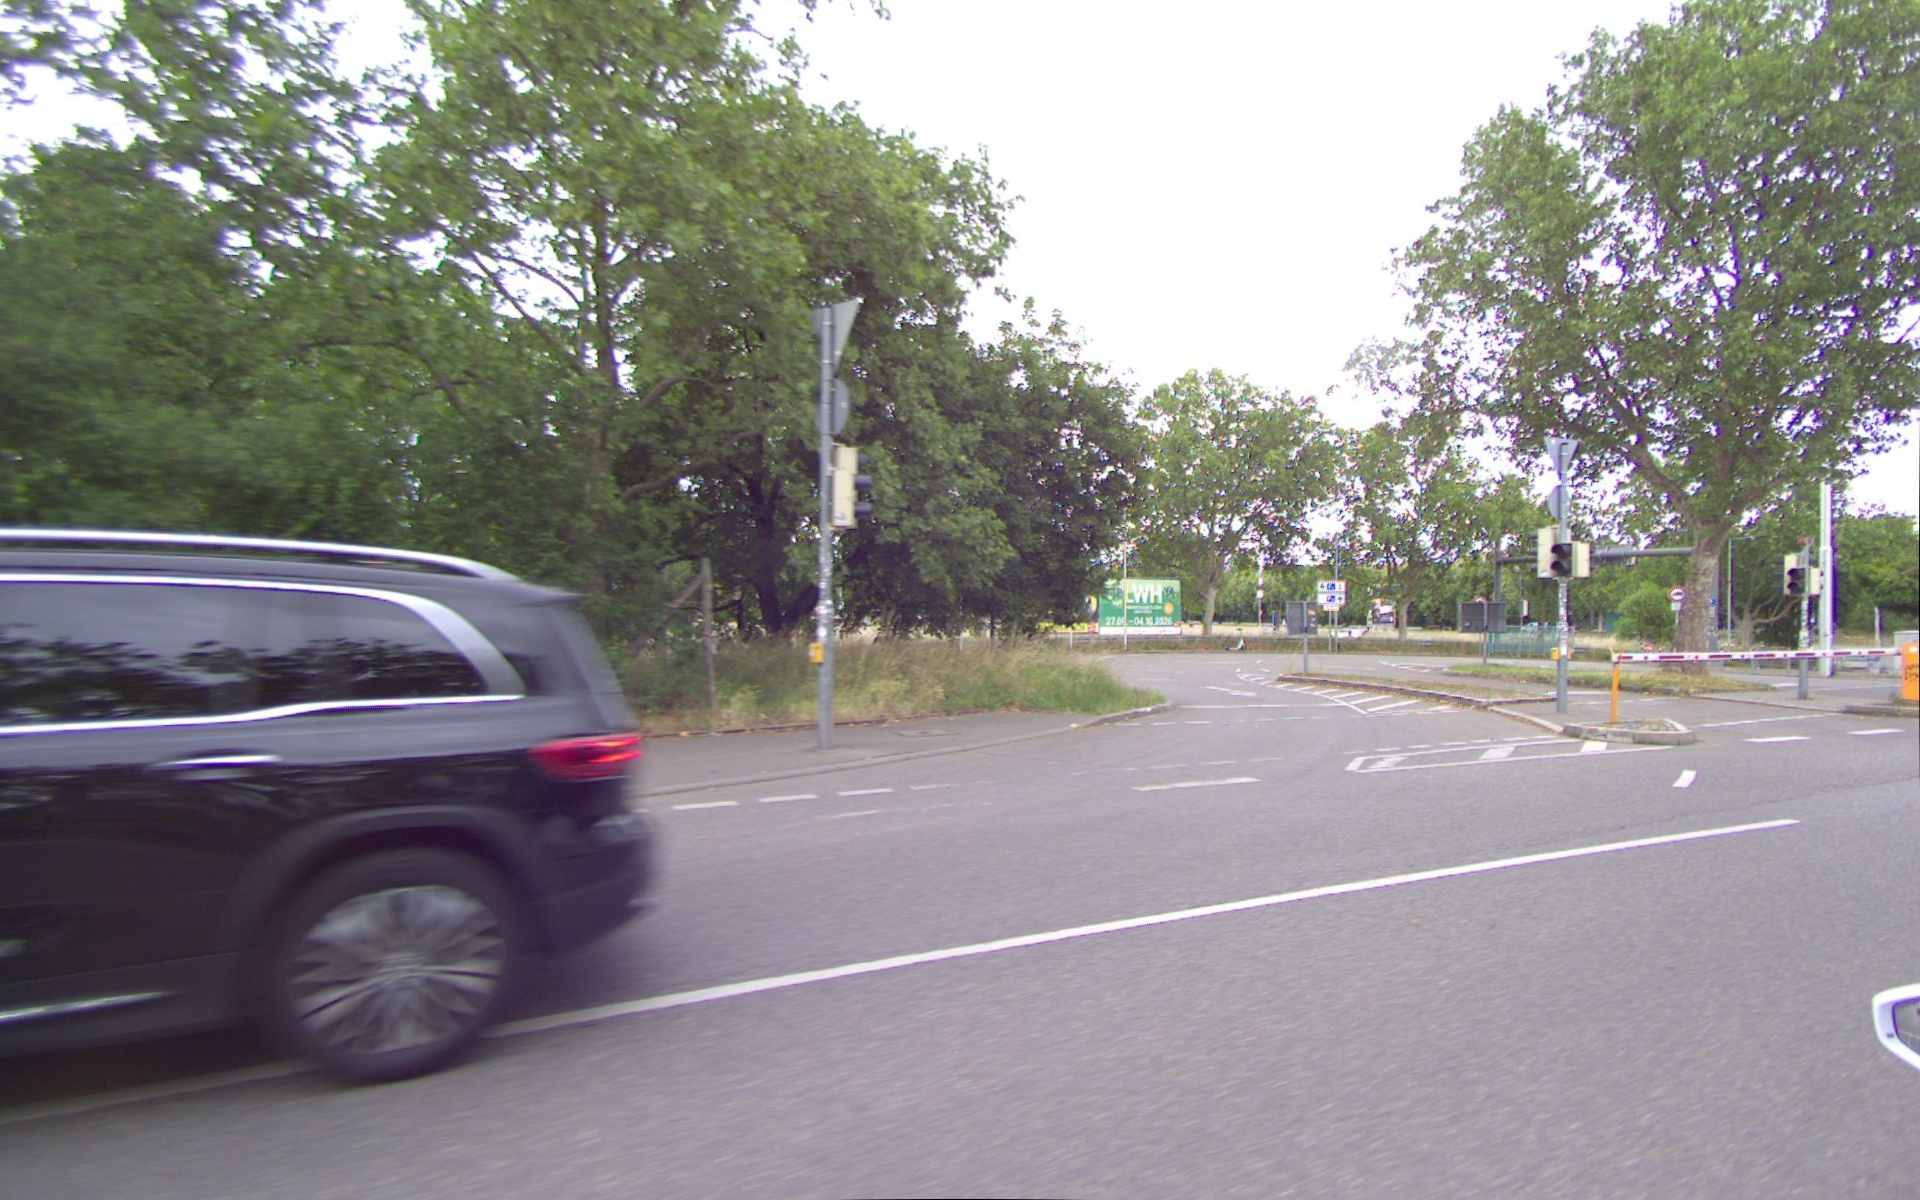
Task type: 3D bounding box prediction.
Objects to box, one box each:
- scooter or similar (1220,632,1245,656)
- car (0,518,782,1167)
[{"bbox_3d":[14.404,2.307,53.066,1.201,1.237,0.414,1,0,-19],"label":"scooter or similar"},{"bbox_3d":[-3.064,0.647,3.432,4.459,1.682,1.986,1,-2,-28],"label":"car"}]
